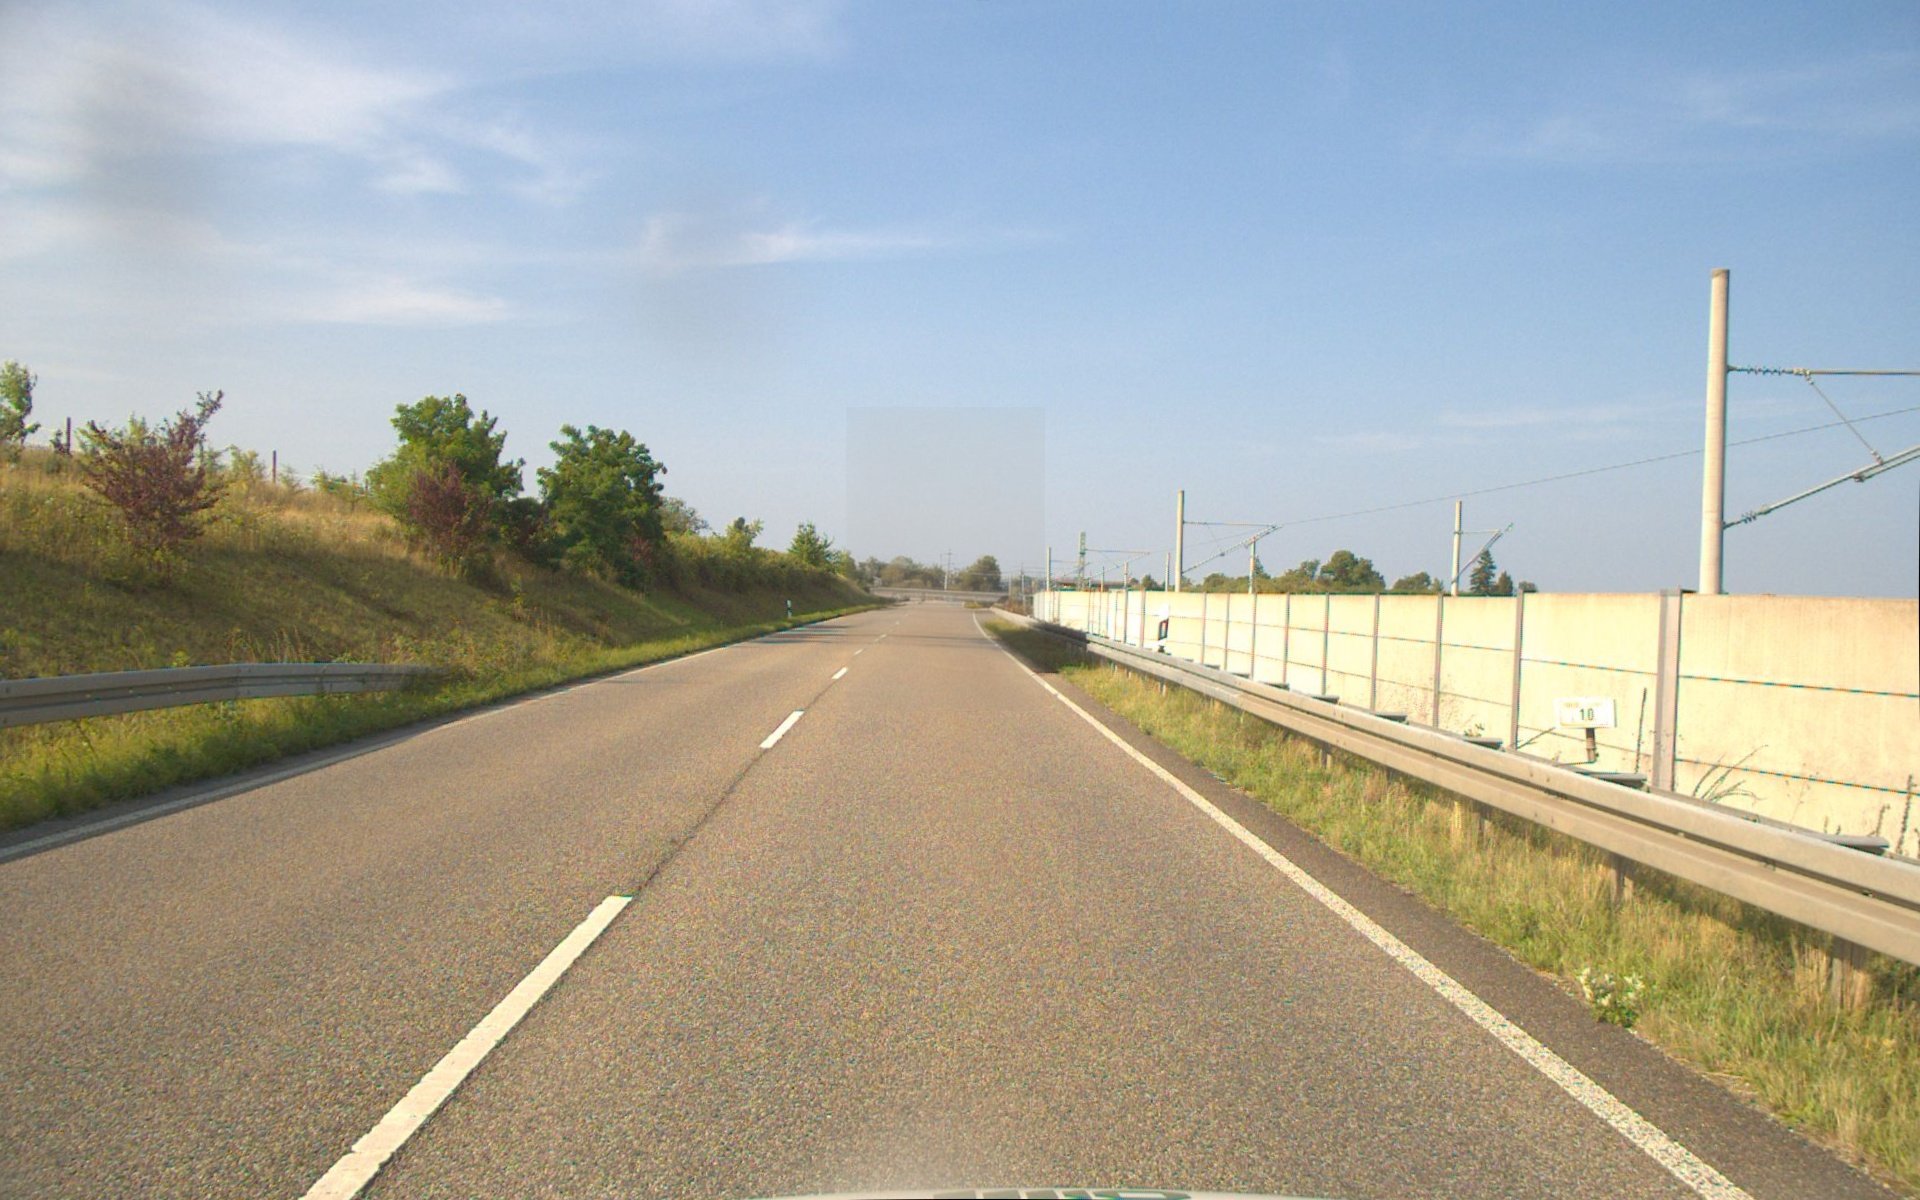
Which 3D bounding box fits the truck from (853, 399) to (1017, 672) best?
[{"bbox_3d":[-0.613,-1.272,36.223,2.972,5.006,11.681,0,1,-2],"label":"truck"}]
